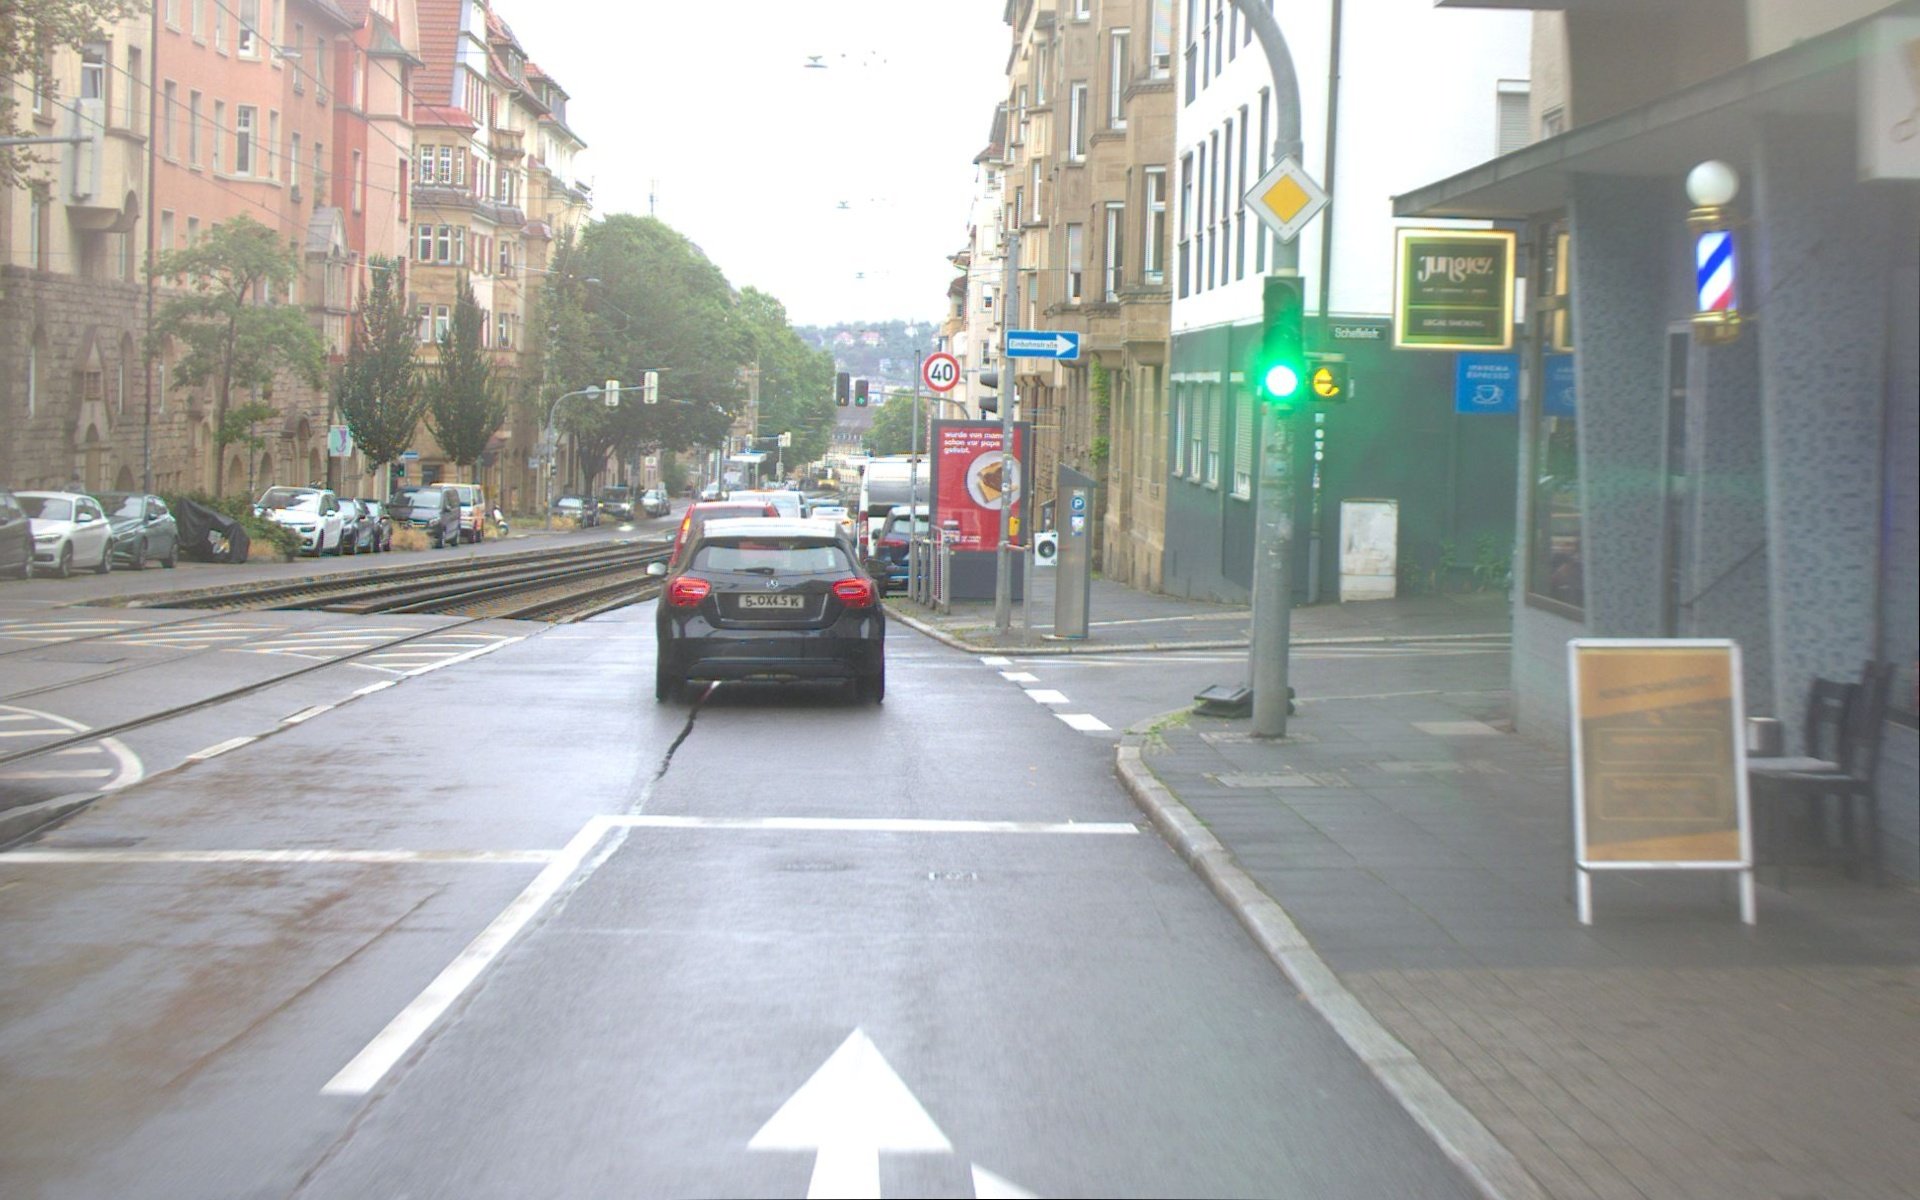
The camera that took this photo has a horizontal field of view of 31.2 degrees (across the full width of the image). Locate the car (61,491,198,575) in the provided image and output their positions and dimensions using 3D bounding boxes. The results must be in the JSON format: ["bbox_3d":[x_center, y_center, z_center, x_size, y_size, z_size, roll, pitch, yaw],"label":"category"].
[{"bbox_3d":[-15.807,-1.305,65.602,1.561,1.433,4.146,0,3,1],"label":"car"}]

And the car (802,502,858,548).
[{"bbox_3d":[-4.641,-2.652,122.922,1.902,1.588,4.000,1,1,-1],"label":"car"}]

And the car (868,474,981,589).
[{"bbox_3d":[-0.602,-1.161,57.496,1.768,1.802,4.483,2,2,-1],"label":"car"}]

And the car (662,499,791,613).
[{"bbox_3d":[-3.276,-0.657,48.742,1.536,1.505,4.000,2,2,-1],"label":"car"}]

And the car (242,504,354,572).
[{"bbox_3d":[-16.231,-1.536,84.477,1.785,1.584,4.351,1,1,2],"label":"car"}]

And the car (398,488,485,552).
[{"bbox_3d":[-16.094,-2.480,106.881,1.993,1.895,4.699,1,1,-1],"label":"car"}]

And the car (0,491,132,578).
[{"bbox_3d":[-15.764,-1.154,59.708,1.667,1.421,4.263,1,1,1],"label":"car"}]

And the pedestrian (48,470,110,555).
[{"bbox_3d":[-18.568,-1.848,72.492,1.007,1.747,0.924,2,1,1],"label":"pedestrian"}]

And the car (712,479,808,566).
[{"bbox_3d":[-4.160,-1.625,71.046,1.921,1.649,4.001,0,3,-4],"label":"car"}]

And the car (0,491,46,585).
[{"bbox_3d":[-15.941,-1.000,54.590,1.765,1.481,4.000,1,1,0],"label":"car"}]

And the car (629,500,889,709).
[{"bbox_3d":[-1.578,0.001,27.784,1.946,1.559,3.643,1,1,-2],"label":"car"}]

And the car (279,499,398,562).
[{"bbox_3d":[-16.276,-1.854,90.237,1.994,1.504,4.974,3,2,2],"label":"car"}]

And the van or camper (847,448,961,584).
[{"bbox_3d":[-1.056,-1.595,65.907,2.064,2.460,6.119,1,1,-1],"label":"van or camper"}]

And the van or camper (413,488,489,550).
[{"bbox_3d":[-16.995,-2.719,114.924,1.993,1.895,4.700,2,2,-3],"label":"van or camper"}]
